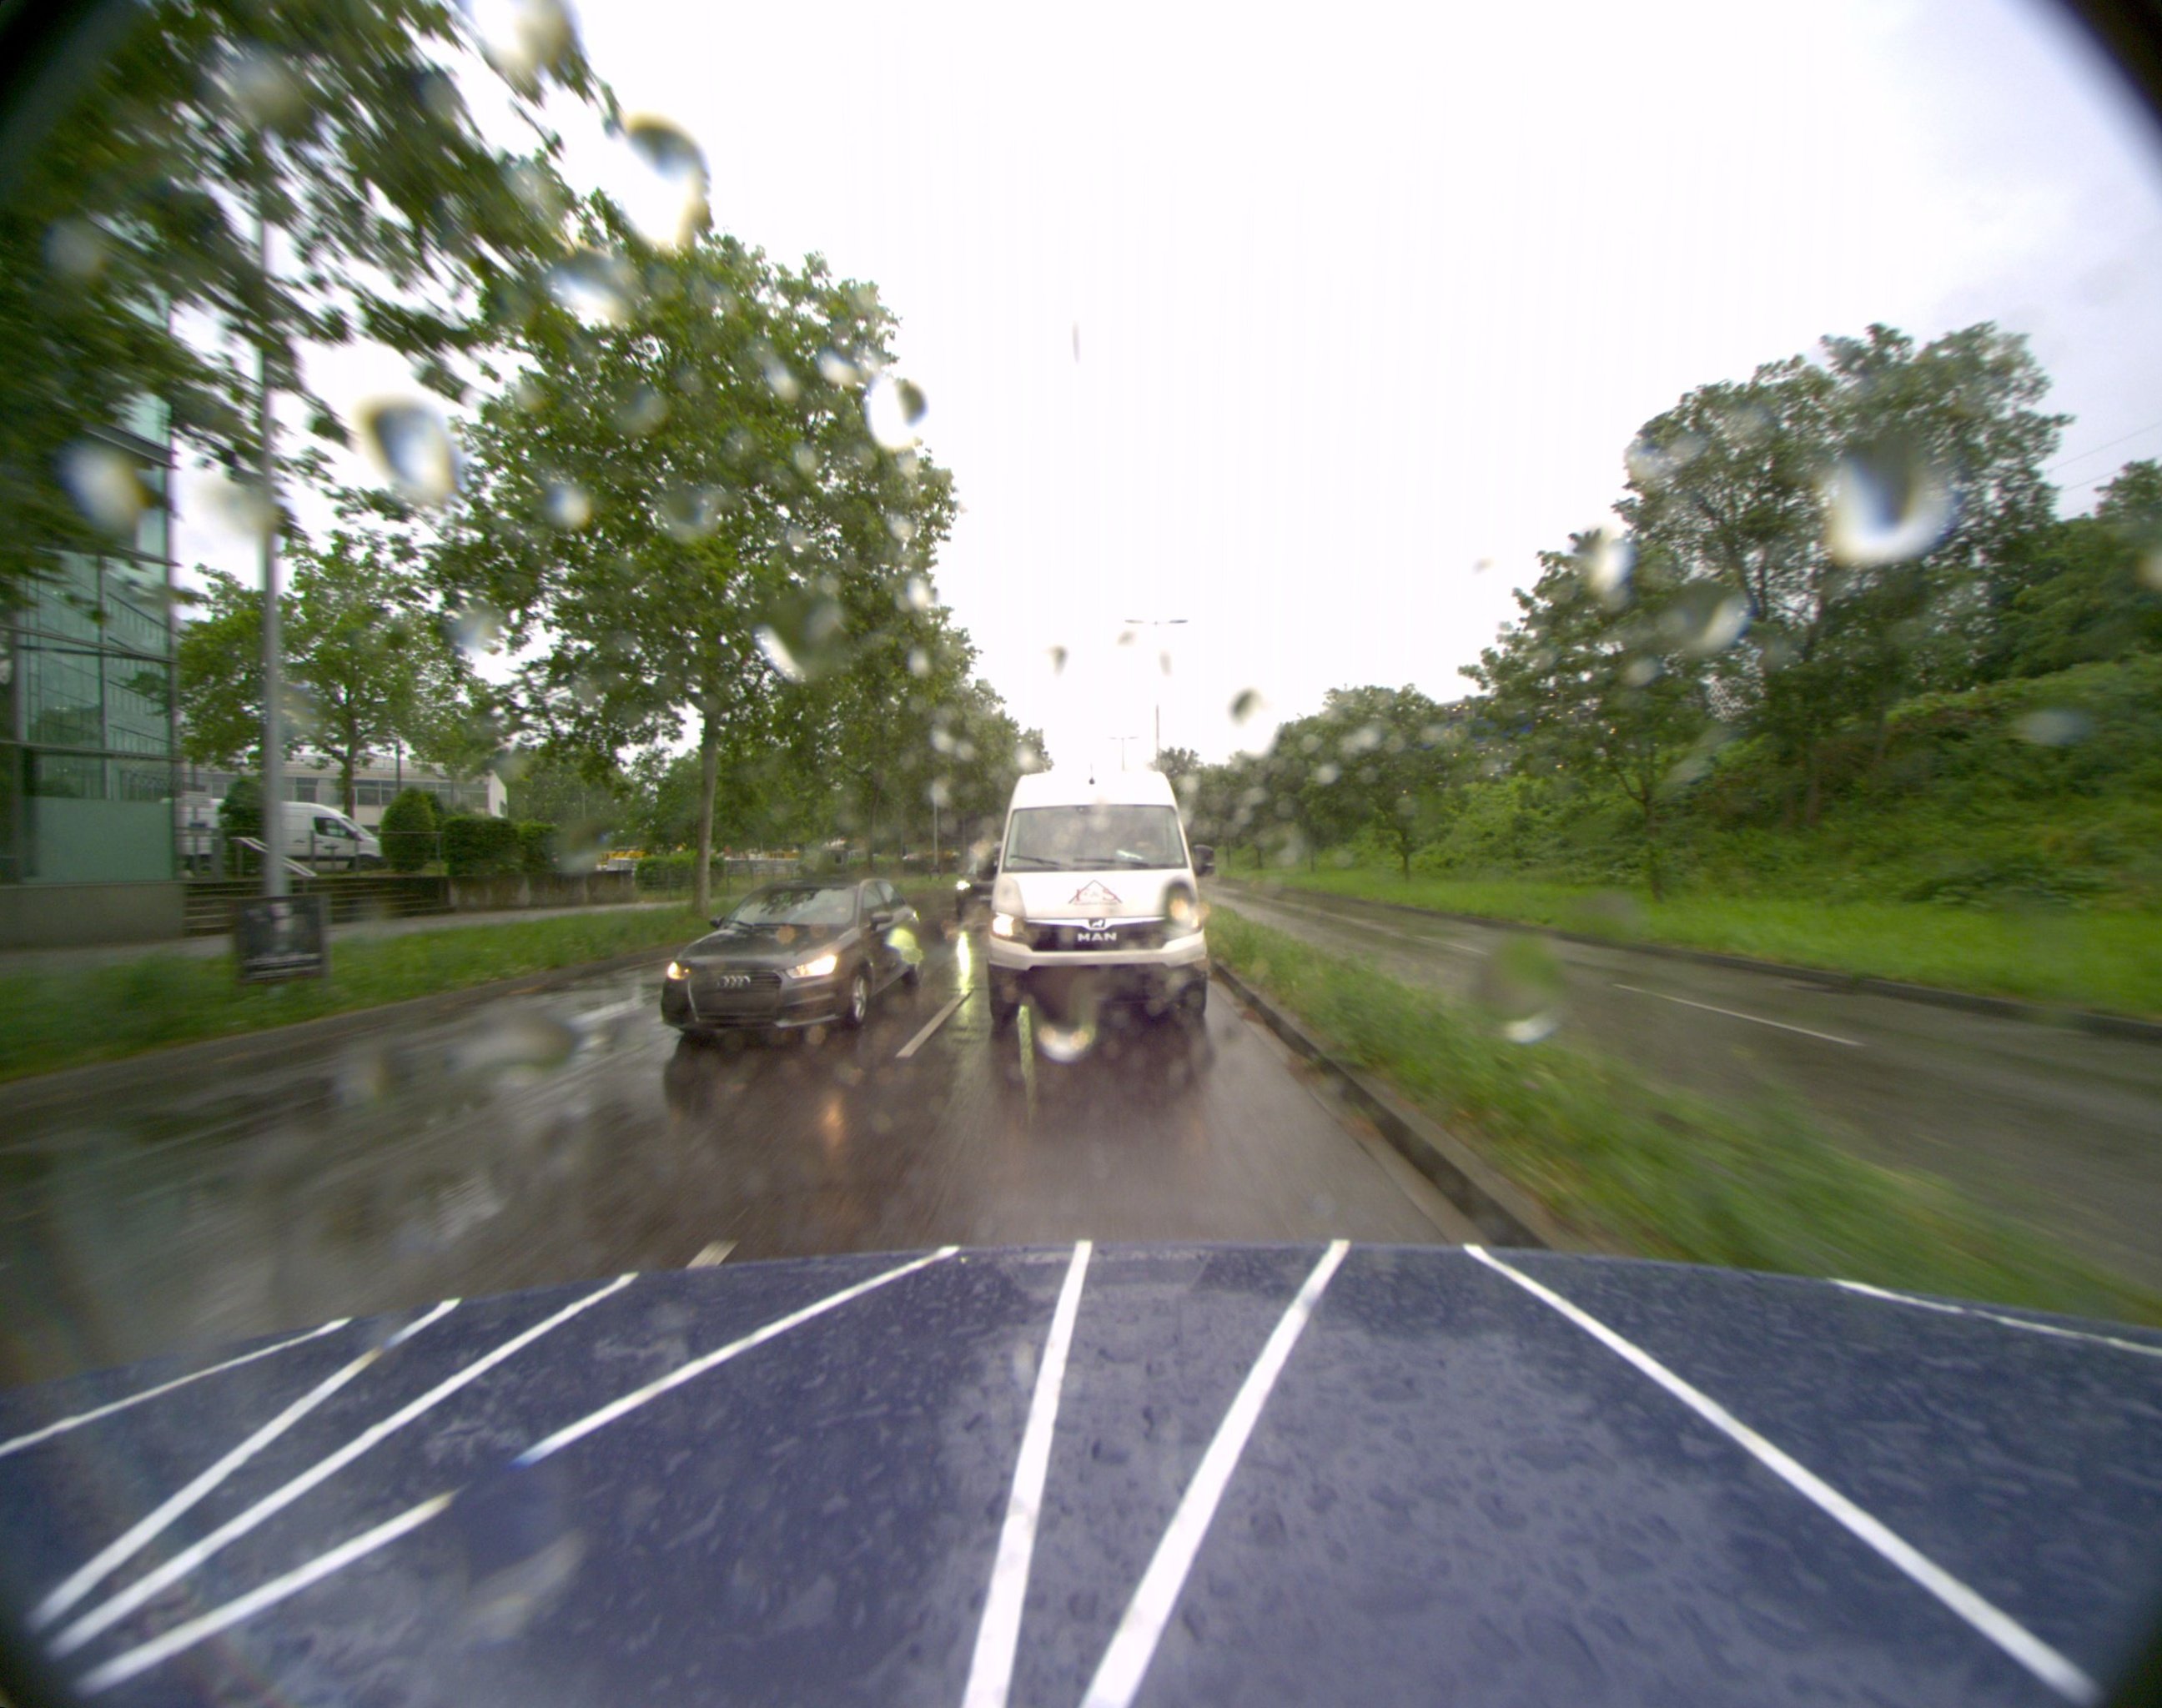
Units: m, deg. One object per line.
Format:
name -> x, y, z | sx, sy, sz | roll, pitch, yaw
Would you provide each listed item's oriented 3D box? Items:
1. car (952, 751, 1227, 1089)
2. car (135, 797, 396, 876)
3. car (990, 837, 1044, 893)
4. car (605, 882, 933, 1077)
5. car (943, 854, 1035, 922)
car -> 0.168, 0.467, 8.436 | 1.968, 2.419, 5.962 | 0, 0, 2
car -> -27.380, -0.610, 25.915 | 5.706, 2.442, 1.995 | -2, 1, -36
car -> -2.909, 0.447, 35.334 | 1.998, 2.416, 4.978 | 0, 0, 1
car -> -2.915, 1.095, 8.073 | 1.840, 1.390, 3.753 | -2, 0, 1
car -> -2.498, 0.869, 21.694 | 1.998, 1.738, 4.327 | 0, 0, 1
